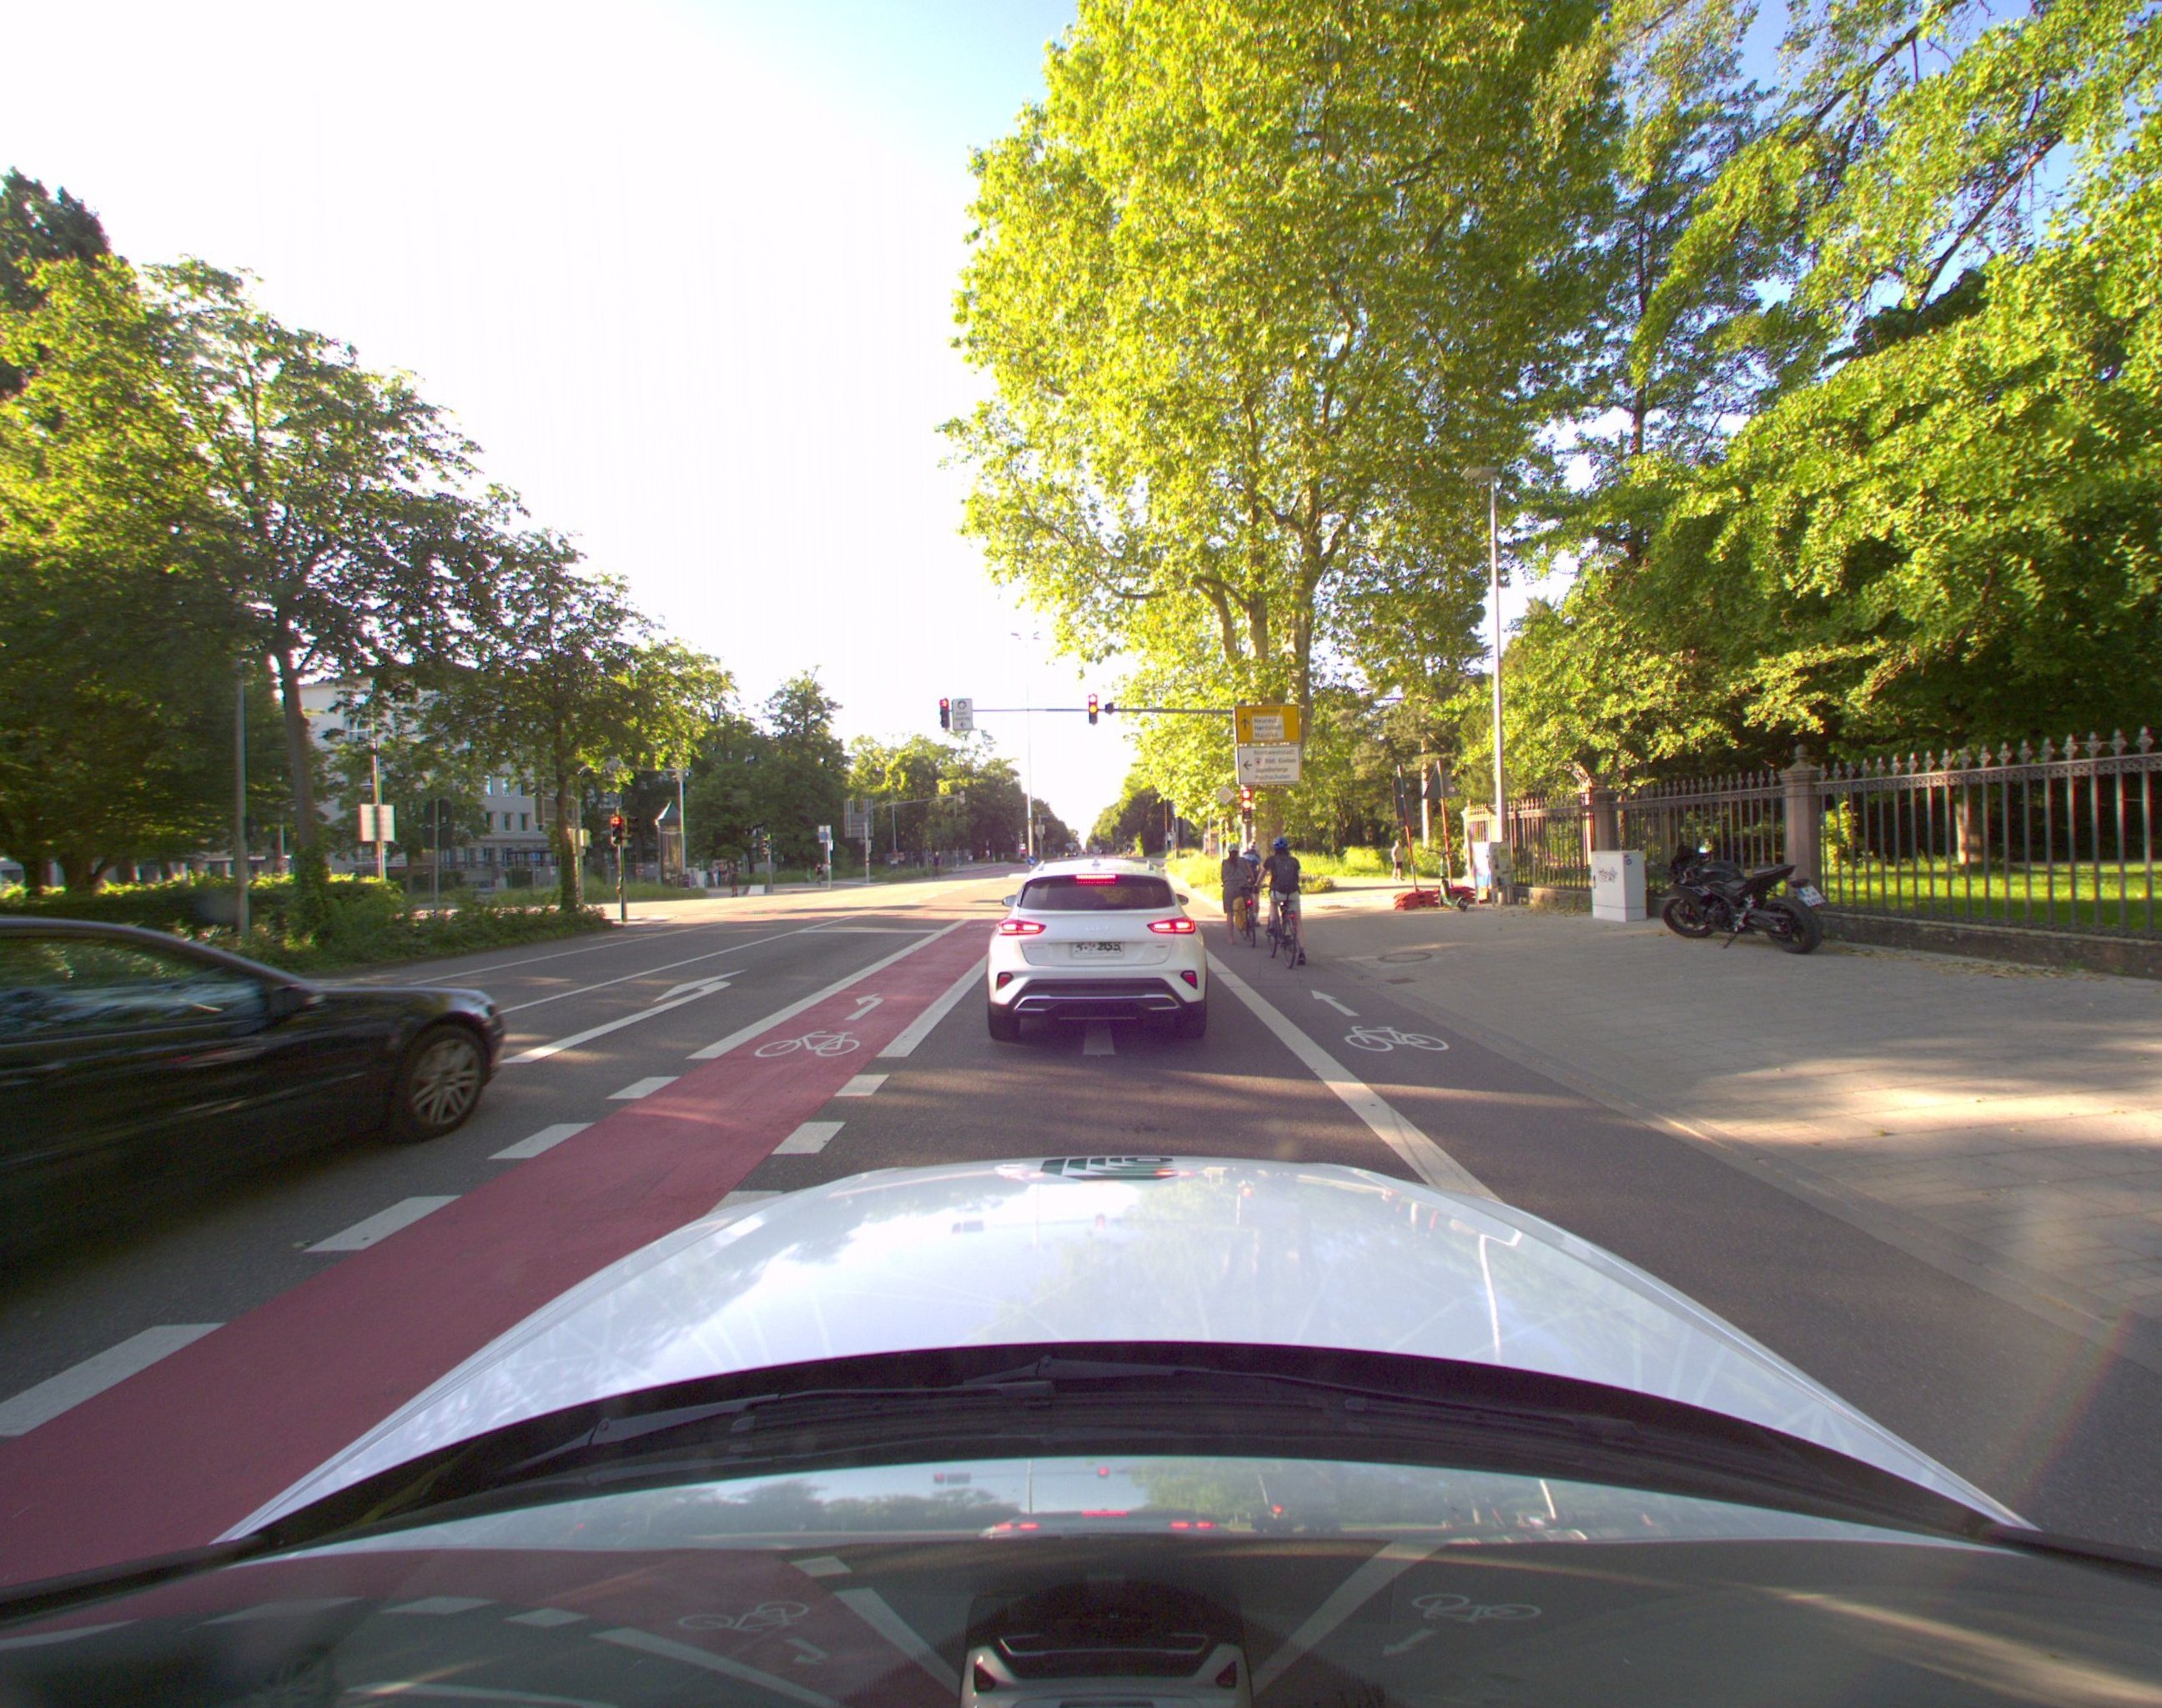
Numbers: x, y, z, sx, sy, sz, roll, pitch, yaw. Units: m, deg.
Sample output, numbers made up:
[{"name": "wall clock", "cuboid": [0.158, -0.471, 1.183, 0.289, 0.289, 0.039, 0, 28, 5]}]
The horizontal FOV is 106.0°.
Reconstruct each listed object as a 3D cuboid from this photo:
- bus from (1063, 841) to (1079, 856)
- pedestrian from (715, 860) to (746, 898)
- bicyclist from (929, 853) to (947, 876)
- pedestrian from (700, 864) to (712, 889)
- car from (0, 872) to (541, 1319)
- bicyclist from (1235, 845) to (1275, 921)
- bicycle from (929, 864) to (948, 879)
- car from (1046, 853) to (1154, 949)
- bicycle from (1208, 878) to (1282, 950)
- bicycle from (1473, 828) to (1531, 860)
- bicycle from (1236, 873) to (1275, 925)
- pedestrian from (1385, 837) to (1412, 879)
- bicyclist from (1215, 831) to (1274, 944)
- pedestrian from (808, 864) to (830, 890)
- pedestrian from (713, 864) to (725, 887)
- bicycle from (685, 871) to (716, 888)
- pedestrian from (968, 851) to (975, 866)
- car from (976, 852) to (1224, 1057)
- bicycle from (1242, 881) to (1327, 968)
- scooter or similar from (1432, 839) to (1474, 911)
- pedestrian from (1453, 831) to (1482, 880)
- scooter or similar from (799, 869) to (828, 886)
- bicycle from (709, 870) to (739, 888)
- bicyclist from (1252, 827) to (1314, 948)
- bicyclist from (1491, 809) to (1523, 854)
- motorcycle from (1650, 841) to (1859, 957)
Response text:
[{"name": "bus", "cuboid": [-2.592, -1.415, 211.279, 3.731, 3.673, 13.232, -2, 0, -1]}, {"name": "pedestrian", "cuboid": [-18.793, 1.334, 43.691, 0.990, 2.014, 1.193, -1, -1, 7]}, {"name": "bicyclist", "cuboid": [-10.138, 0.750, 57.806, 0.871, 1.608, 1.189, -3, 0, 4]}, {"name": "pedestrian", "cuboid": [-25.214, 1.525, 54.754, 0.628, 1.642, 0.444, -1, -1, -8]}, {"name": "car", "cuboid": [-4.431, 0.869, 3.159, 1.699, 1.405, 4.265, -3, 0, 1]}, {"name": "bicyclist", "cuboid": [3.549, 0.577, 16.652, 0.552, 1.478, 0.717, -5, -1, 0]}, {"name": "bicycle", "cuboid": [-10.110, 1.239, 57.906, 0.660, 0.989, 2.507, -3, 0, 4]}, {"name": "car", "cuboid": [0.323, 0.765, 15.145, 1.723, 1.483, 3.516, -3, 0, 0]}, {"name": "bicycle", "cuboid": [2.692, 0.950, 13.658, 0.755, 1.013, 2.569, 0, 0, 0]}, {"name": "bicycle", "cuboid": [13.769, -0.332, 26.679, 1.604, 1.015, 0.477, -1, -1, 15]}, {"name": "bicycle", "cuboid": [3.563, 0.907, 16.684, 0.400, 0.956, 1.551, -5, 0, 0]}, {"name": "pedestrian", "cuboid": [11.701, 0.159, 30.058, 0.812, 1.518, 0.920, -1, -1, 16]}, {"name": "bicyclist", "cuboid": [2.693, 0.527, 13.530, 0.750, 1.795, 1.165, 0, 0, 0]}, {"name": "pedestrian", "cuboid": [-17.216, 1.516, 53.533, 1.086, 1.603, 0.999, -3, 0, -5]}, {"name": "pedestrian", "cuboid": [-24.283, 1.436, 54.650, 0.628, 1.580, 0.444, -1, -1, -8]}, {"name": "bicycle", "cuboid": [-25.756, 1.723, 55.095, 1.859, 1.148, 0.442, -1, -1, -6]}, {"name": "pedestrian", "cuboid": [-13.164, 0.586, 97.983, 0.782, 1.785, 0.751, -1, -1, 2]}, {"name": "car", "cuboid": [0.160, 0.743, 8.053, 1.815, 1.480, 3.936, -1, 0, 0]}, {"name": "bicycle", "cuboid": [2.769, 0.921, 11.295, 0.666, 1.009, 2.081, -1, 0, 0]}, {"name": "scooter or similar", "cuboid": [7.200, 0.384, 15.778, 0.227, 1.327, 1.172, -3, 0, 0]}, {"name": "pedestrian", "cuboid": [13.676, 0.041, 28.829, 0.686, 1.699, 0.644, -1, -1, 1]}, {"name": "scooter or similar", "cuboid": [-18.710, 1.621, 56.976, 0.703, 1.124, 1.933, -1, 0, 34]}, {"name": "bicycle", "cuboid": [-23.961, 1.678, 54.690, 1.859, 1.148, 0.290, -1, -1, -6]}, {"name": "bicyclist", "cuboid": [2.773, 0.442, 11.222, 0.663, 1.602, 0.721, -1, 0, 0]}, {"name": "bicyclist", "cuboid": [13.914, -0.726, 26.633, 0.776, 1.431, 0.669, -1, -1, 15]}, {"name": "motorcycle", "cuboid": [7.455, 0.452, 9.181, 0.504, 1.131, 2.170, -4, 0, 0]}]
